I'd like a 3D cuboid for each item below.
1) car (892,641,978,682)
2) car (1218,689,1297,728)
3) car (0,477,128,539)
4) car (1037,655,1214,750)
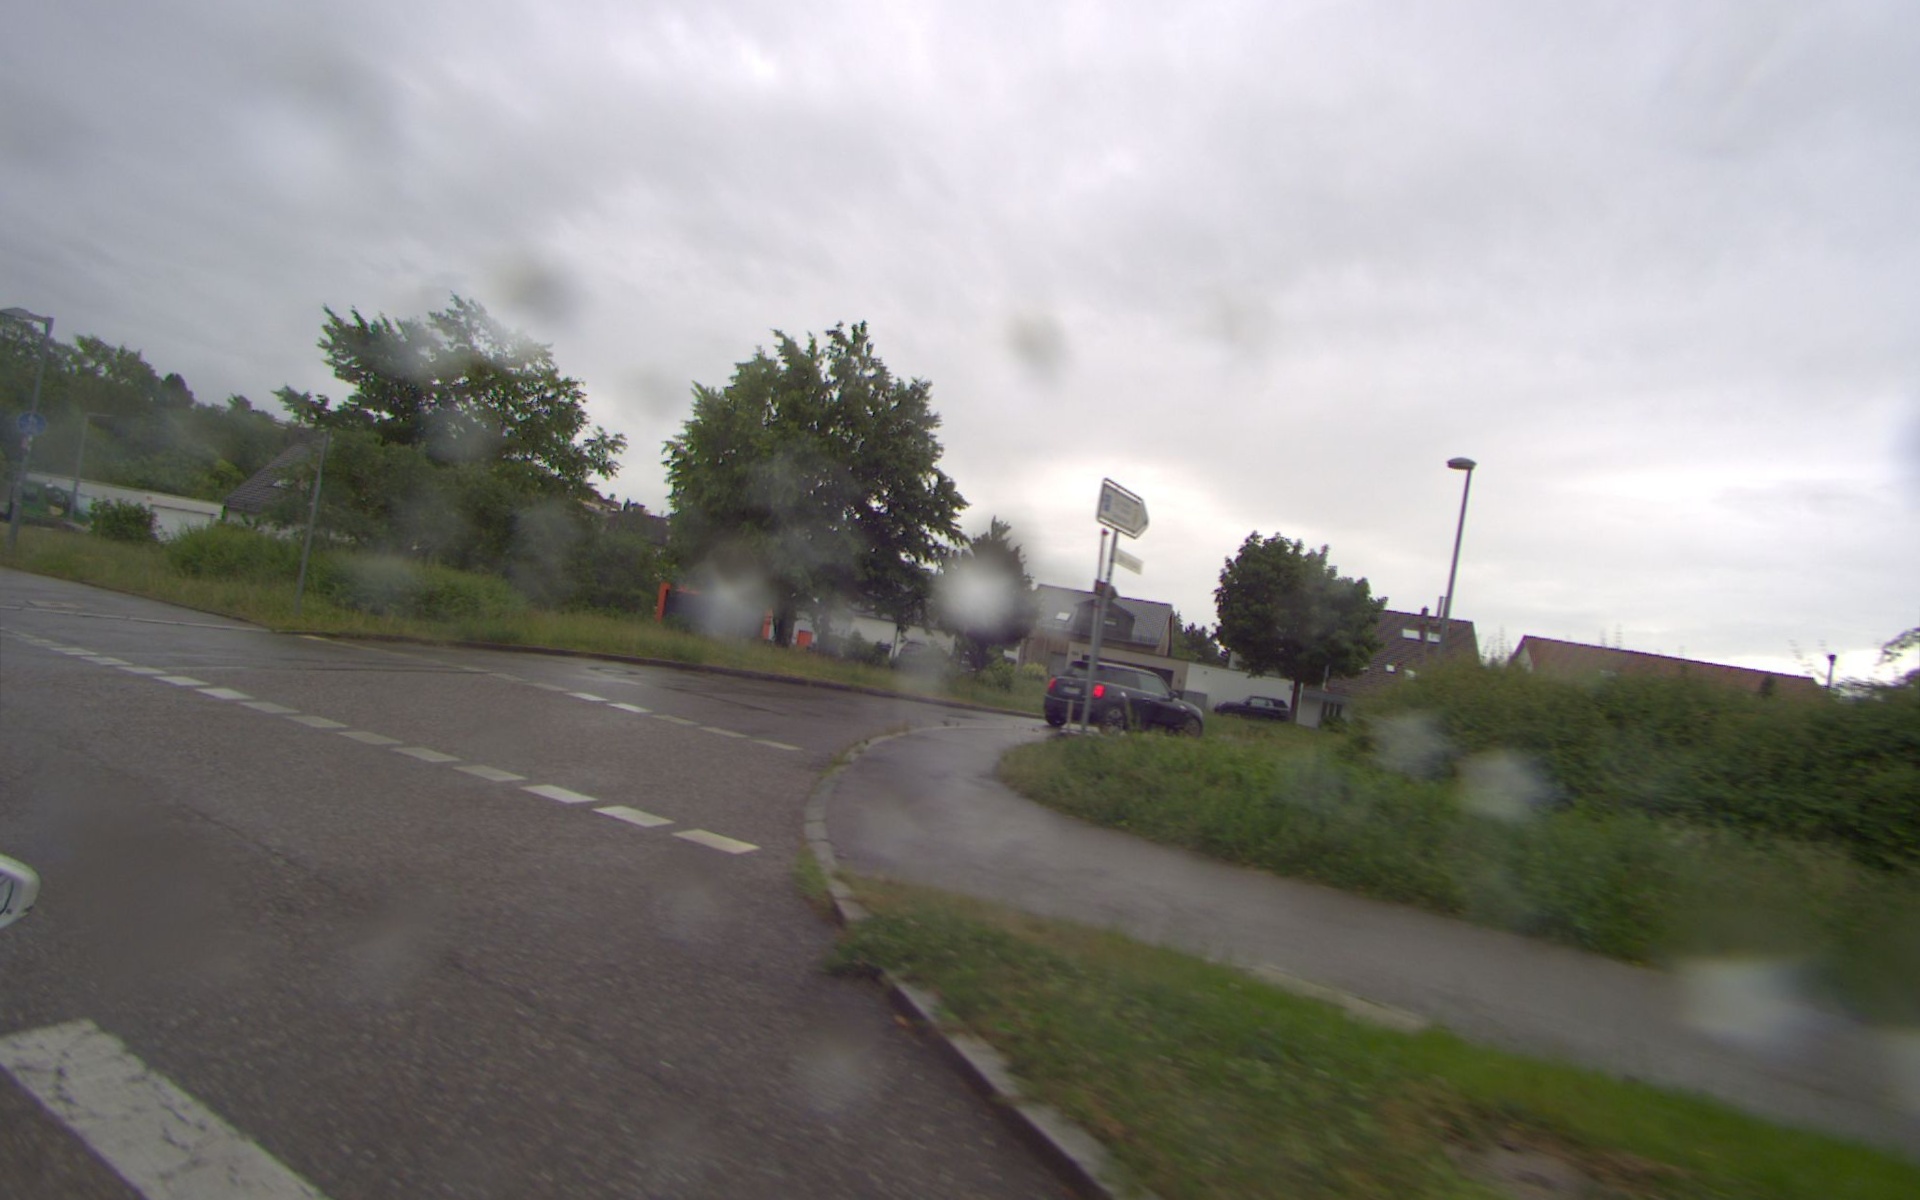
[{"bbox_3d":[-1.327,3.357,55.116,4.473,1.770,1.914,5,-2,0],"label":"car"},{"bbox_3d":[14.235,5.206,48.287,3.467,1.250,1.463,8,-4,15],"label":"car"},{"bbox_3d":[-36.444,-3.702,40.877,3.368,1.707,1.999,7,-5,-13],"label":"car"},{"bbox_3d":[3.397,2.099,20.407,3.511,1.369,1.445,13,-5,-38],"label":"car"}]
